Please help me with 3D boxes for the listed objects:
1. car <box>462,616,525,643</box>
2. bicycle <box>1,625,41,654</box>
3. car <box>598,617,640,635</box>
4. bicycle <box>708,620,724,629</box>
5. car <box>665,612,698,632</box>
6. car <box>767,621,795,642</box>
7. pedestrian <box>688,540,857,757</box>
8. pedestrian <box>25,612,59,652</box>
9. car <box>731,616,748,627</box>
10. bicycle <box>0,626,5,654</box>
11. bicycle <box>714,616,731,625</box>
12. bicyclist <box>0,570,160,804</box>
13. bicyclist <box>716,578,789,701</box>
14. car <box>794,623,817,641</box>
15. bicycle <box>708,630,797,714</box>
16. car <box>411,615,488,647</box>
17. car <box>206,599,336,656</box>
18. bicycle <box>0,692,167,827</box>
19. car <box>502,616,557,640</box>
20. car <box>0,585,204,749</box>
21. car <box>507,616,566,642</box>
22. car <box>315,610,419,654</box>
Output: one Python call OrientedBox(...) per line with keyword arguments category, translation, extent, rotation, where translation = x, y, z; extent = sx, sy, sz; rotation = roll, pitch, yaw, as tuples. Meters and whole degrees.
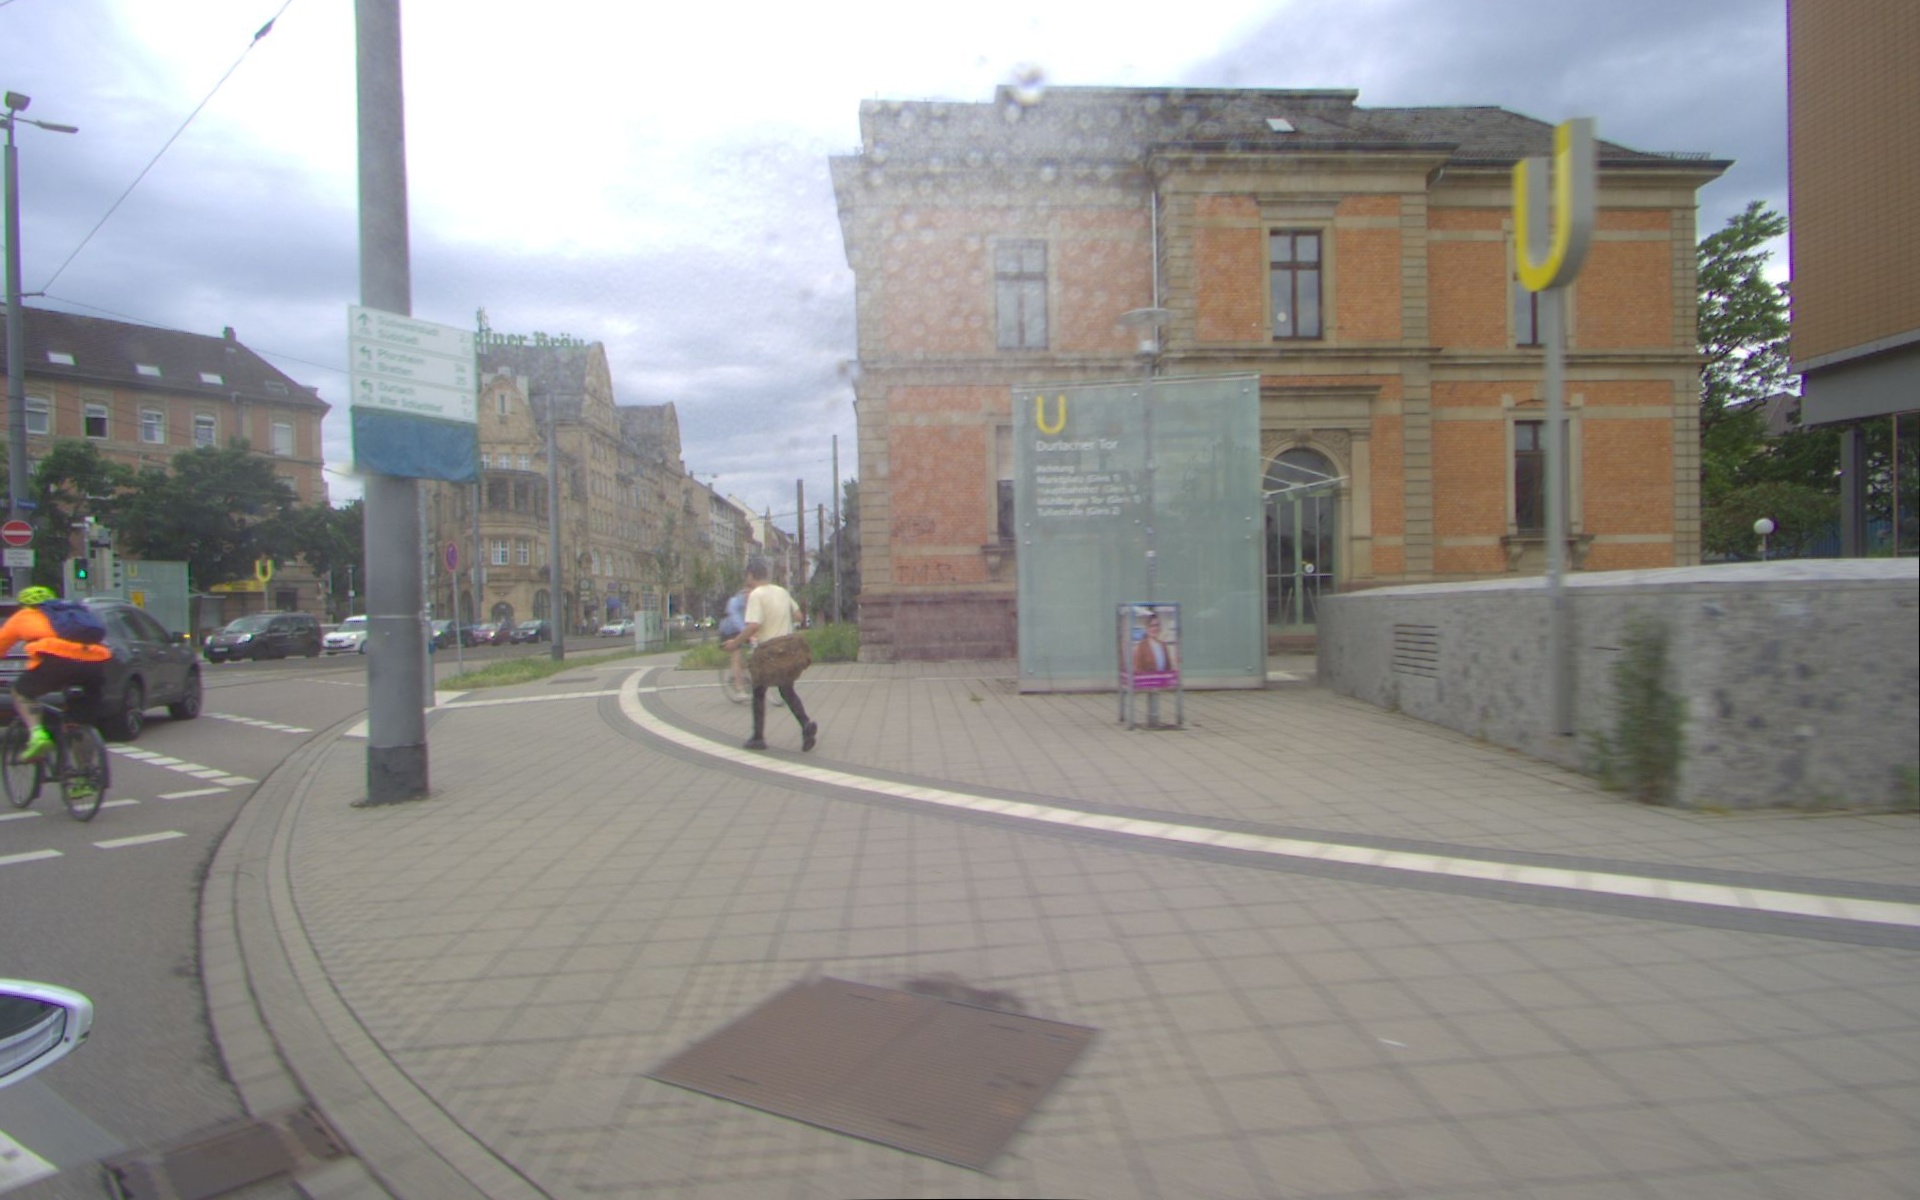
OrientedBox(category="car", translation=(-27.804, 1.733, 59.854), extent=(1.833, 1.417, 3.895), rotation=(-3, -1, 1))
OrientedBox(category="bicycle", translation=(-45.487, 1.918, 48.545), extent=(0.948, 1.371, 3.101), rotation=(0, -2, -34))
OrientedBox(category="car", translation=(-27.414, 2.075, 80.696), extent=(1.895, 1.398, 4.258), rotation=(-1, -1, 0))
OrientedBox(category="bicycle", translation=(-31.577, 3.167, 129.554), extent=(1.891, 1.014, 0.463), rotation=(-1, 0, -10))
OrientedBox(category="car", translation=(-26.442, 2.060, 95.329), extent=(1.833, 1.728, 4.909), rotation=(-2, -1, -2))
OrientedBox(category="car", translation=(-13.980, 2.458, 78.277), extent=(1.611, 1.452, 3.930), rotation=(-3, 0, -3))
OrientedBox(category="pedestrian", translation=(-1.760, 0.435, 9.425), extent=(1.267, 1.892, 0.883), rotation=(-1, 0, 31))
OrientedBox(category="pedestrian", translation=(-40.299, 1.407, 43.955), extent=(0.592, 1.750, 0.910), rotation=(-1, 0, 23))
OrientedBox(category="car", translation=(-32.121, 3.141, 146.063), extent=(1.747, 1.524, 4.402), rotation=(-1, -1, -3))
OrientedBox(category="bicycle", translation=(-46.452, 1.902, 47.673), extent=(0.948, 1.371, 3.101), rotation=(0, -2, -34))
OrientedBox(category="bicycle", translation=(-32.117, 2.768, 135.374), extent=(2.196, 1.141, 0.503), rotation=(-1, 0, -10))
OrientedBox(category="bicyclist", translation=(-6.977, 0.625, 7.639), extent=(1.299, 1.642, 0.827), rotation=(-1, 0, 23))
OrientedBox(category="bicyclist", translation=(-2.815, 0.506, 13.541), extent=(0.682, 1.582, 0.921), rotation=(-3, 2, -29))
OrientedBox(category="car", translation=(-14.606, 3.019, 94.845), extent=(1.727, 1.595, 3.930), rotation=(-3, 0, -3))
OrientedBox(category="bicycle", translation=(-2.852, 0.940, 13.609), extent=(0.662, 0.946, 1.850), rotation=(-4, 2, -27))
OrientedBox(category="car", translation=(-27.676, 1.648, 54.428), extent=(1.833, 1.554, 4.302), rotation=(-3, -1, 2))
OrientedBox(category="car", translation=(-25.182, 0.989, 36.794), extent=(1.661, 1.925, 4.387), rotation=(-1, -1, 1))
OrientedBox(category="bicycle", translation=(-6.950, 1.165, 7.594), extent=(2.039, 0.859, 0.556), rotation=(-1, 0, 23))
OrientedBox(category="car", translation=(-28.198, 1.836, 65.747), extent=(1.718, 1.397, 4.362), rotation=(-4, -1, -2))
OrientedBox(category="car", translation=(-11.202, 0.755, 12.694), extent=(1.727, 1.779, 3.910), rotation=(0, -1, -24))
OrientedBox(category="car", translation=(-24.670, 1.665, 58.499), extent=(1.661, 1.461, 4.001), rotation=(-1, -1, 1))
OrientedBox(category="car", translation=(-28.306, 1.481, 48.032), extent=(1.832, 1.941, 5.101), rotation=(-1, -1, 2))
